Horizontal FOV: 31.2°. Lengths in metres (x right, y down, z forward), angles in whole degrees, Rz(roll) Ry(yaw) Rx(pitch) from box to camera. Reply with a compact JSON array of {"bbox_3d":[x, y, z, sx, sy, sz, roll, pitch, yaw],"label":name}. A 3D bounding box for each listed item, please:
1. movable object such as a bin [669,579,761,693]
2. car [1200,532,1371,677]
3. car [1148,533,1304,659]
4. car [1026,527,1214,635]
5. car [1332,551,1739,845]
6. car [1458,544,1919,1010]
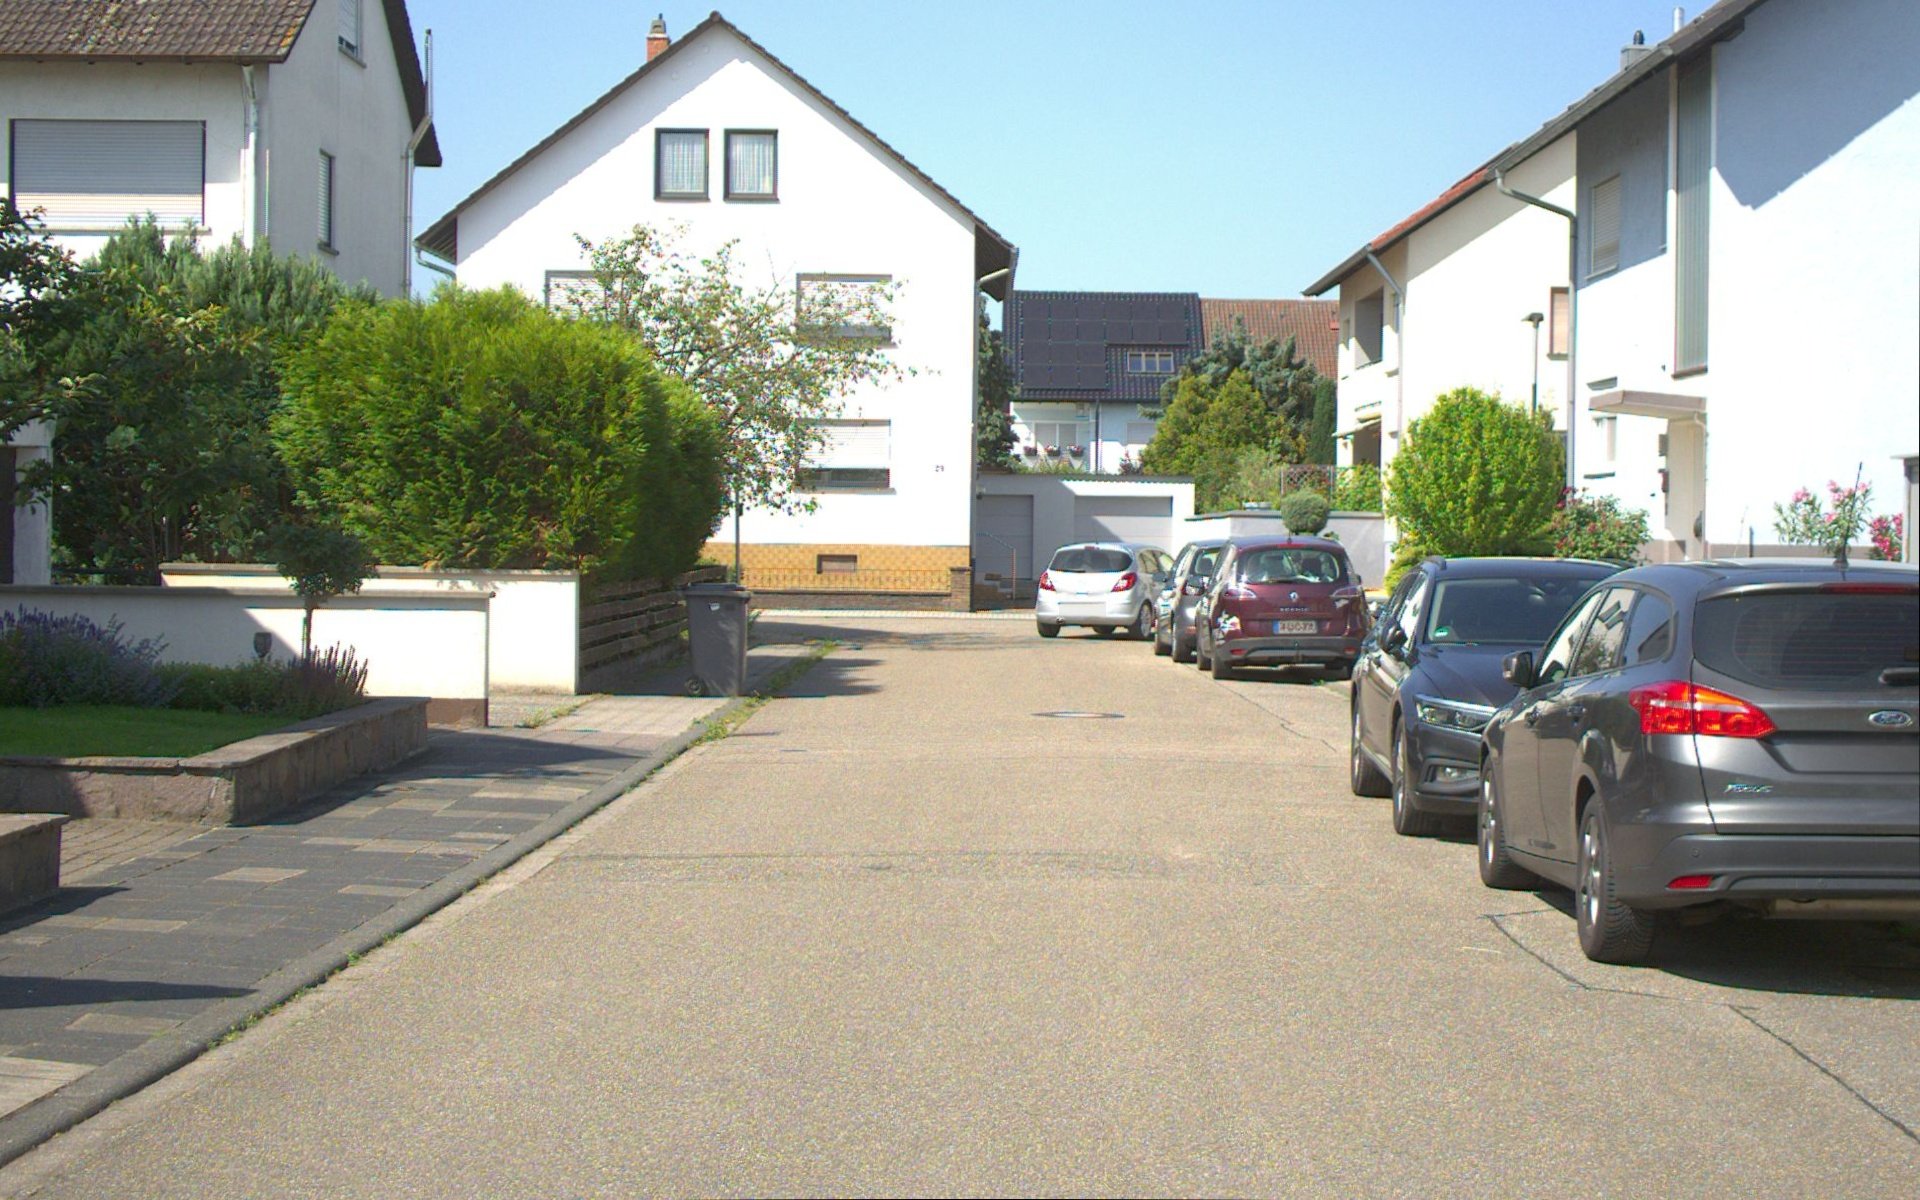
[{"bbox_3d":[-2.319,0.334,32.570,0.818,1.060,0.611,0,1,0],"label":"movable object such as a bin"},{"bbox_3d":[3.741,0.010,40.052,1.645,1.576,4.147,1,1,1],"label":"car"},{"bbox_3d":[3.437,-0.086,44.994,1.645,1.540,4.048,1,1,-1],"label":"car"},{"bbox_3d":[2.516,-0.304,53.219,1.647,1.576,3.805,2,1,23],"label":"car"},{"bbox_3d":[3.130,0.458,19.515,1.717,1.433,4.502,1,1,2],"label":"car"},{"bbox_3d":[3.112,0.580,13.606,1.642,1.473,4.000,2,2,0],"label":"car"}]
